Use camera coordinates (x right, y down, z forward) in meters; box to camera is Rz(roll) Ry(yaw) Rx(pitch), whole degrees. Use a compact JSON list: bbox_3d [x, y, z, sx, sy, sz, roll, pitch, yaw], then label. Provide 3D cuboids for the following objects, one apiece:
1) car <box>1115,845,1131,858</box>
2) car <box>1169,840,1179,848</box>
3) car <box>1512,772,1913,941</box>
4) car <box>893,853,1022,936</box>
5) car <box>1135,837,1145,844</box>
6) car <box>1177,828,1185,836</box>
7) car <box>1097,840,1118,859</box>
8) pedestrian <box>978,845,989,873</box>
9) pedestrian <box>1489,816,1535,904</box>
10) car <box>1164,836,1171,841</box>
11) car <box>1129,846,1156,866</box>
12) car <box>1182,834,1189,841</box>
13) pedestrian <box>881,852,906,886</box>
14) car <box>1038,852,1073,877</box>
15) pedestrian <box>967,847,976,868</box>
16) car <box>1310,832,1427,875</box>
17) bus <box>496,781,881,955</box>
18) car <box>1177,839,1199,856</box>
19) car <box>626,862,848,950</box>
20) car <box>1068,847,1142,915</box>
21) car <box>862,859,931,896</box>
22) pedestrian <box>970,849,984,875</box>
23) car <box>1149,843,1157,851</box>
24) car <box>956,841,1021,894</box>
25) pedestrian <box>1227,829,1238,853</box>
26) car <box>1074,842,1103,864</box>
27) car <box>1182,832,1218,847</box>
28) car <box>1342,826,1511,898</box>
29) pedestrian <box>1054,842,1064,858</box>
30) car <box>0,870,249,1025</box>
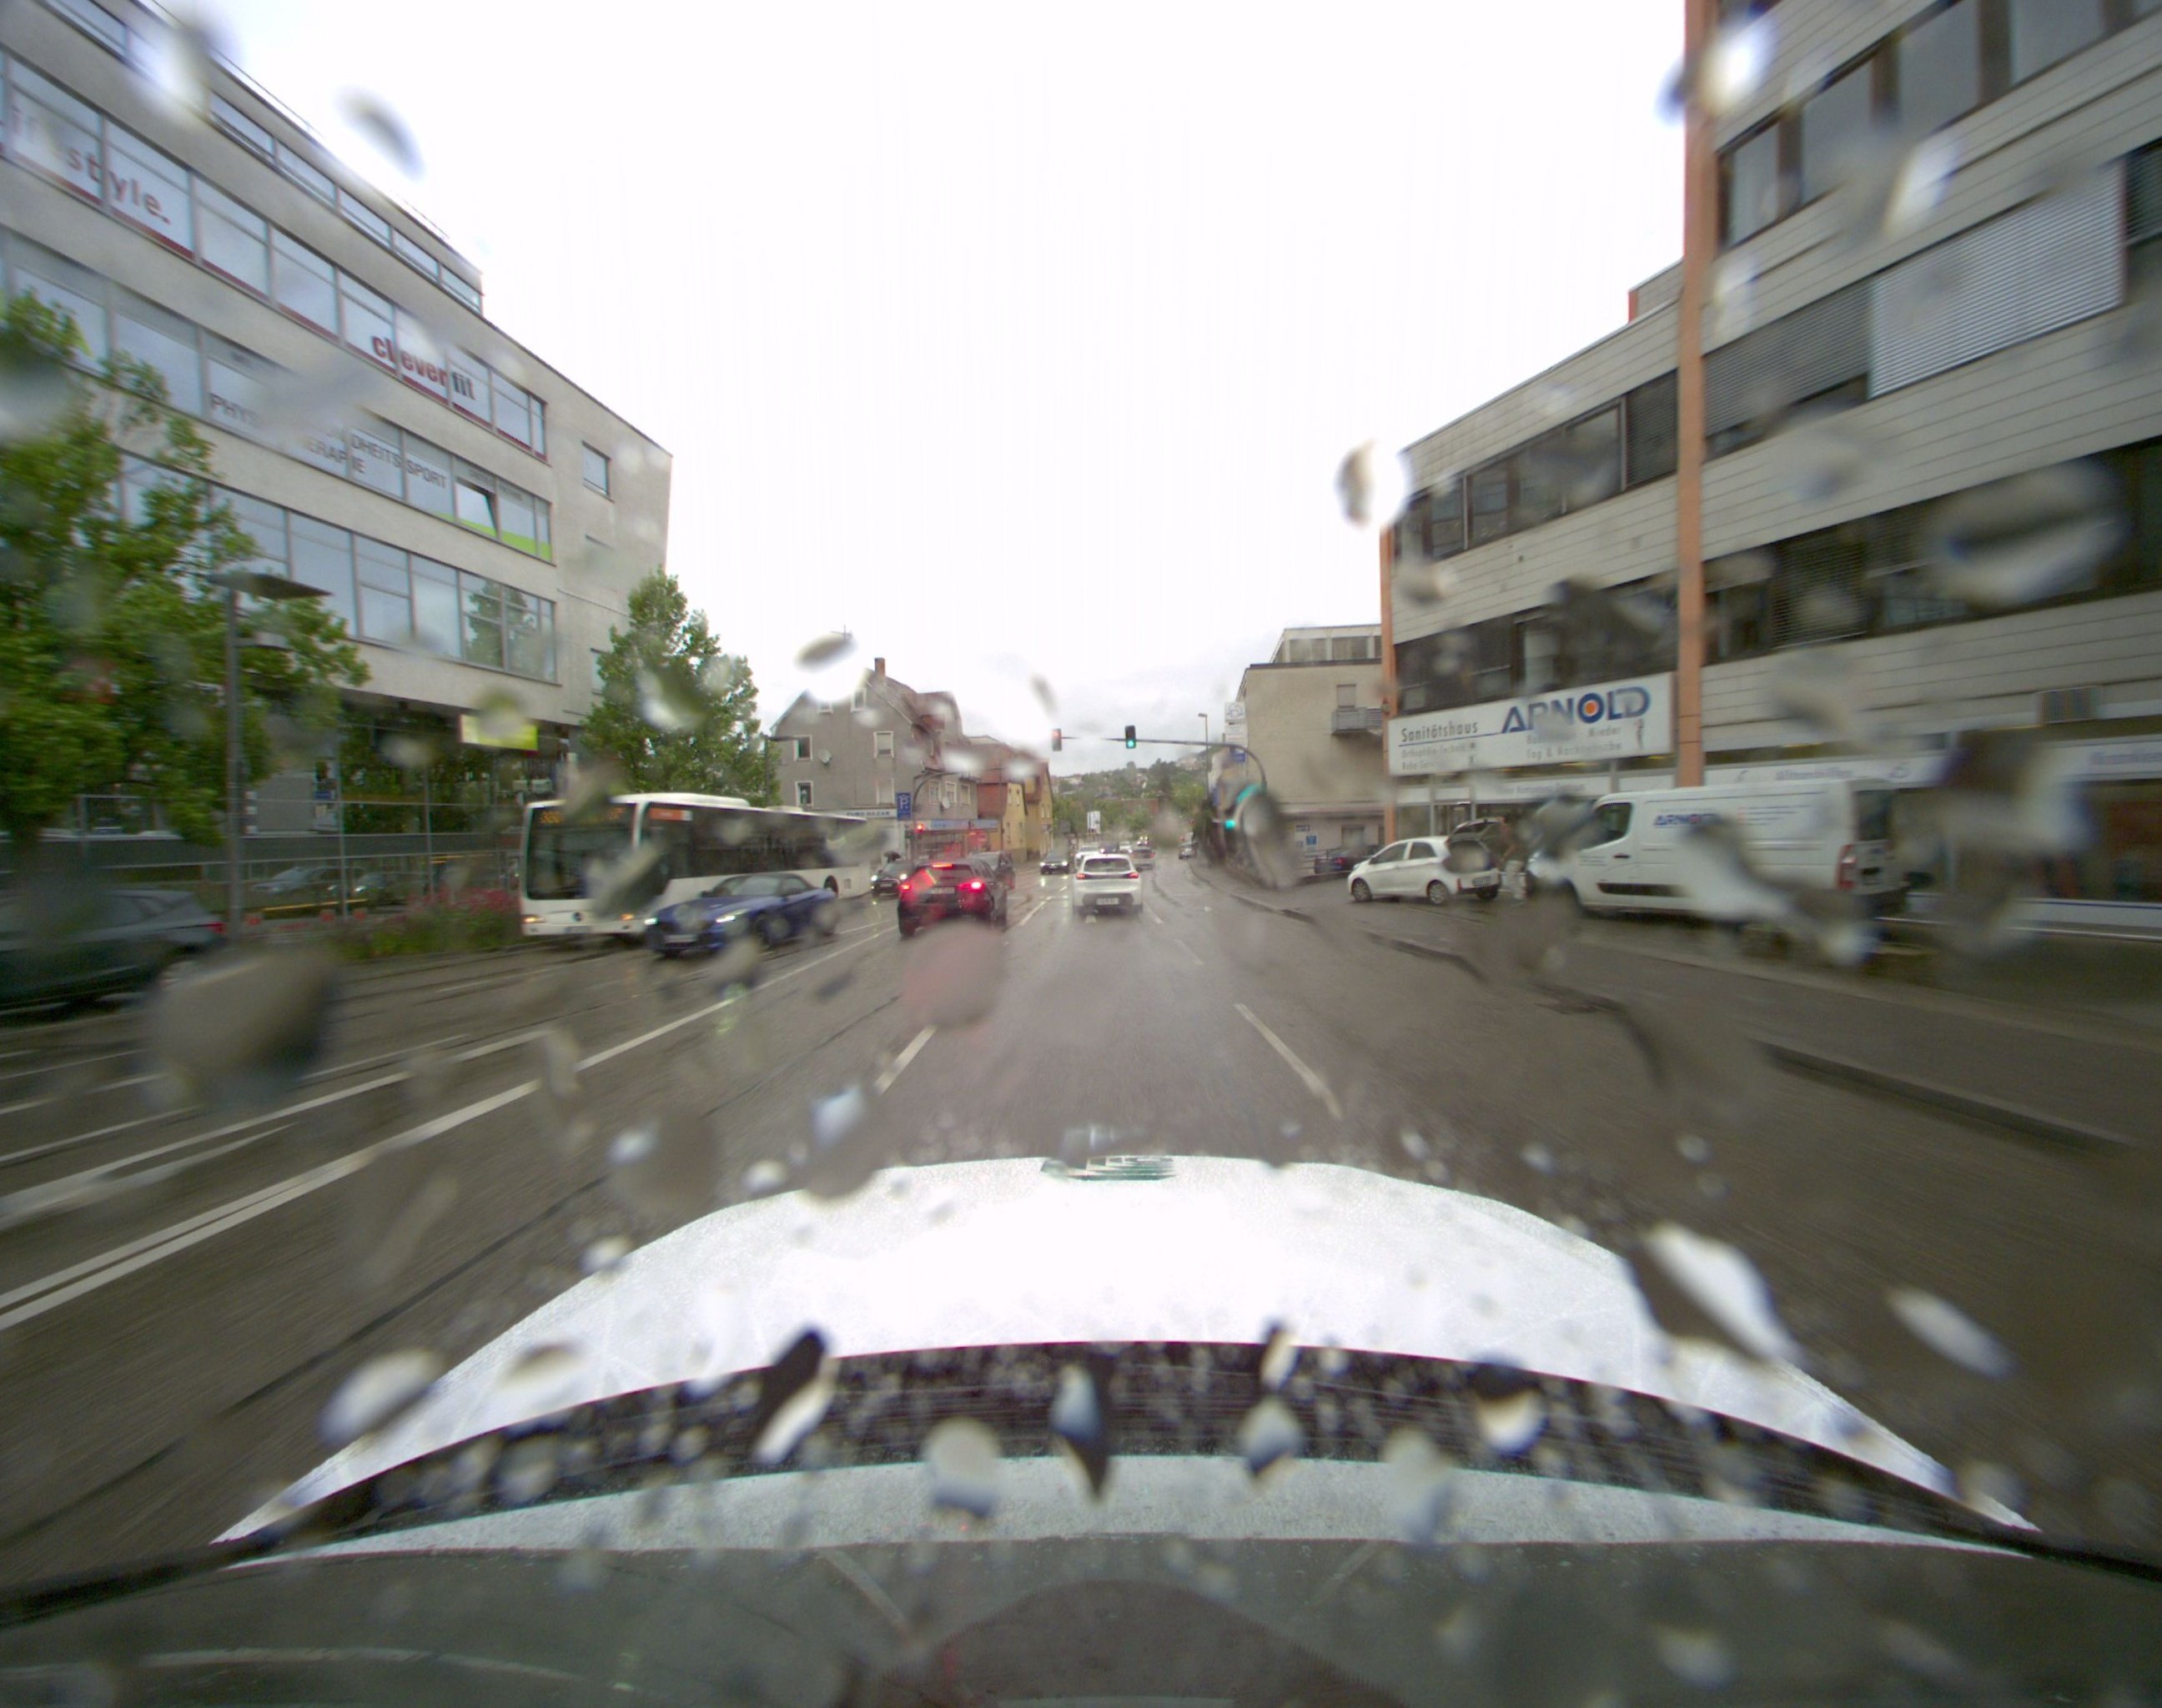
[{"bbox_3d":[5.819,-0.376,111.376,1.869,1.609,4.727,-2,0,6],"label":"car"},{"bbox_3d":[16.581,-1.832,145.064,1.725,1.388,3.358,0,2,6],"label":"car"},{"bbox_3d":[10.025,-0.104,13.439,2.013,2.208,4.830,-5,4,-29],"label":"car"},{"bbox_3d":[-2.413,0.735,16.961,1.708,1.450,4.203,-2,0,4],"label":"car"},{"bbox_3d":[11.845,-2.656,162.028,1.759,1.413,4.534,-2,0,6],"label":"car"},{"bbox_3d":[29.166,-6.424,237.330,1.983,2.013,4.008,-2,0,7],"label":"car"},{"bbox_3d":[2.935,-0.483,88.701,1.956,1.938,5.186,-2,0,4],"label":"car"},{"bbox_3d":[-6.681,0.354,55.935,0.659,1.921,0.946,0,0,-1],"label":"pedestrian"},{"bbox_3d":[8.884,0.109,16.787,0.591,1.766,0.600,-2,2,-1],"label":"pedestrian"},{"bbox_3d":[20.204,-3.666,190.456,1.378,1.126,2.615,-2,0,7],"label":"car"},{"bbox_3d":[4.334,0.126,57.543,1.734,1.295,3.336,-2,1,3],"label":"car"},{"bbox_3d":[24.636,-3.839,192.286,1.639,1.485,3.372,-2,0,6],"label":"car"},{"bbox_3d":[-10.191,0.793,44.229,0.920,1.788,1.235,-2,0,5],"label":"pedestrian"},{"bbox_3d":[-1.590,0.631,52.338,1.750,1.434,4.386,-2,0,4],"label":"car"},{"bbox_3d":[-8.192,0.258,61.093,0.540,1.557,0.447,-2,0,7],"label":"pedestrian"},{"bbox_3d":[11.274,-0.043,31.896,4.409,1.411,1.721,-3,1,-26],"label":"car"},{"bbox_3d":[-8.743,0.246,21.019,2.877,3.099,12.021,-2,0,6],"label":"bus"},{"bbox_3d":[11.045,-0.694,84.376,2.002,1.622,4.366,-1,-1,4],"label":"car"},{"bbox_3d":[-5.960,0.835,14.763,1.887,1.256,4.201,-2,0,5],"label":"car"},{"bbox_3d":[0.703,0.626,20.880,1.683,1.519,3.937,-2,0,4],"label":"car"},{"bbox_3d":[-7.533,0.923,33.582,1.632,1.337,3.607,-2,0,6],"label":"car"},{"bbox_3d":[-5.553,0.427,43.564,0.576,1.394,0.561,-2,0,4],"label":"pedestrian"},{"bbox_3d":[11.520,-1.142,130.170,1.207,1.156,2.273,-2,0,4],"label":"car"},{"bbox_3d":[-3.788,0.511,33.979,1.624,2.013,4.294,-2,0,8],"label":"car"},{"bbox_3d":[11.624,-1.008,62.564,0.724,1.780,0.957,-1,2,14],"label":"pedestrian"},{"bbox_3d":[0.703,-0.075,70.075,2.089,1.712,4.855,-2,0,4],"label":"car"},{"bbox_3d":[20.269,-2.534,138.259,6.661,2.382,2.271,-2,0,-42],"label":"car"},{"bbox_3d":[7.833,0.179,18.785,1.618,1.462,3.398,-2,0,-23],"label":"car"},{"bbox_3d":[-2.422,-0.472,91.275,0.794,1.788,0.886,-2,0,16],"label":"pedestrian"},{"bbox_3d":[-12.575,1.068,9.225,1.984,1.596,4.005,-2,0,4],"label":"car"}]
